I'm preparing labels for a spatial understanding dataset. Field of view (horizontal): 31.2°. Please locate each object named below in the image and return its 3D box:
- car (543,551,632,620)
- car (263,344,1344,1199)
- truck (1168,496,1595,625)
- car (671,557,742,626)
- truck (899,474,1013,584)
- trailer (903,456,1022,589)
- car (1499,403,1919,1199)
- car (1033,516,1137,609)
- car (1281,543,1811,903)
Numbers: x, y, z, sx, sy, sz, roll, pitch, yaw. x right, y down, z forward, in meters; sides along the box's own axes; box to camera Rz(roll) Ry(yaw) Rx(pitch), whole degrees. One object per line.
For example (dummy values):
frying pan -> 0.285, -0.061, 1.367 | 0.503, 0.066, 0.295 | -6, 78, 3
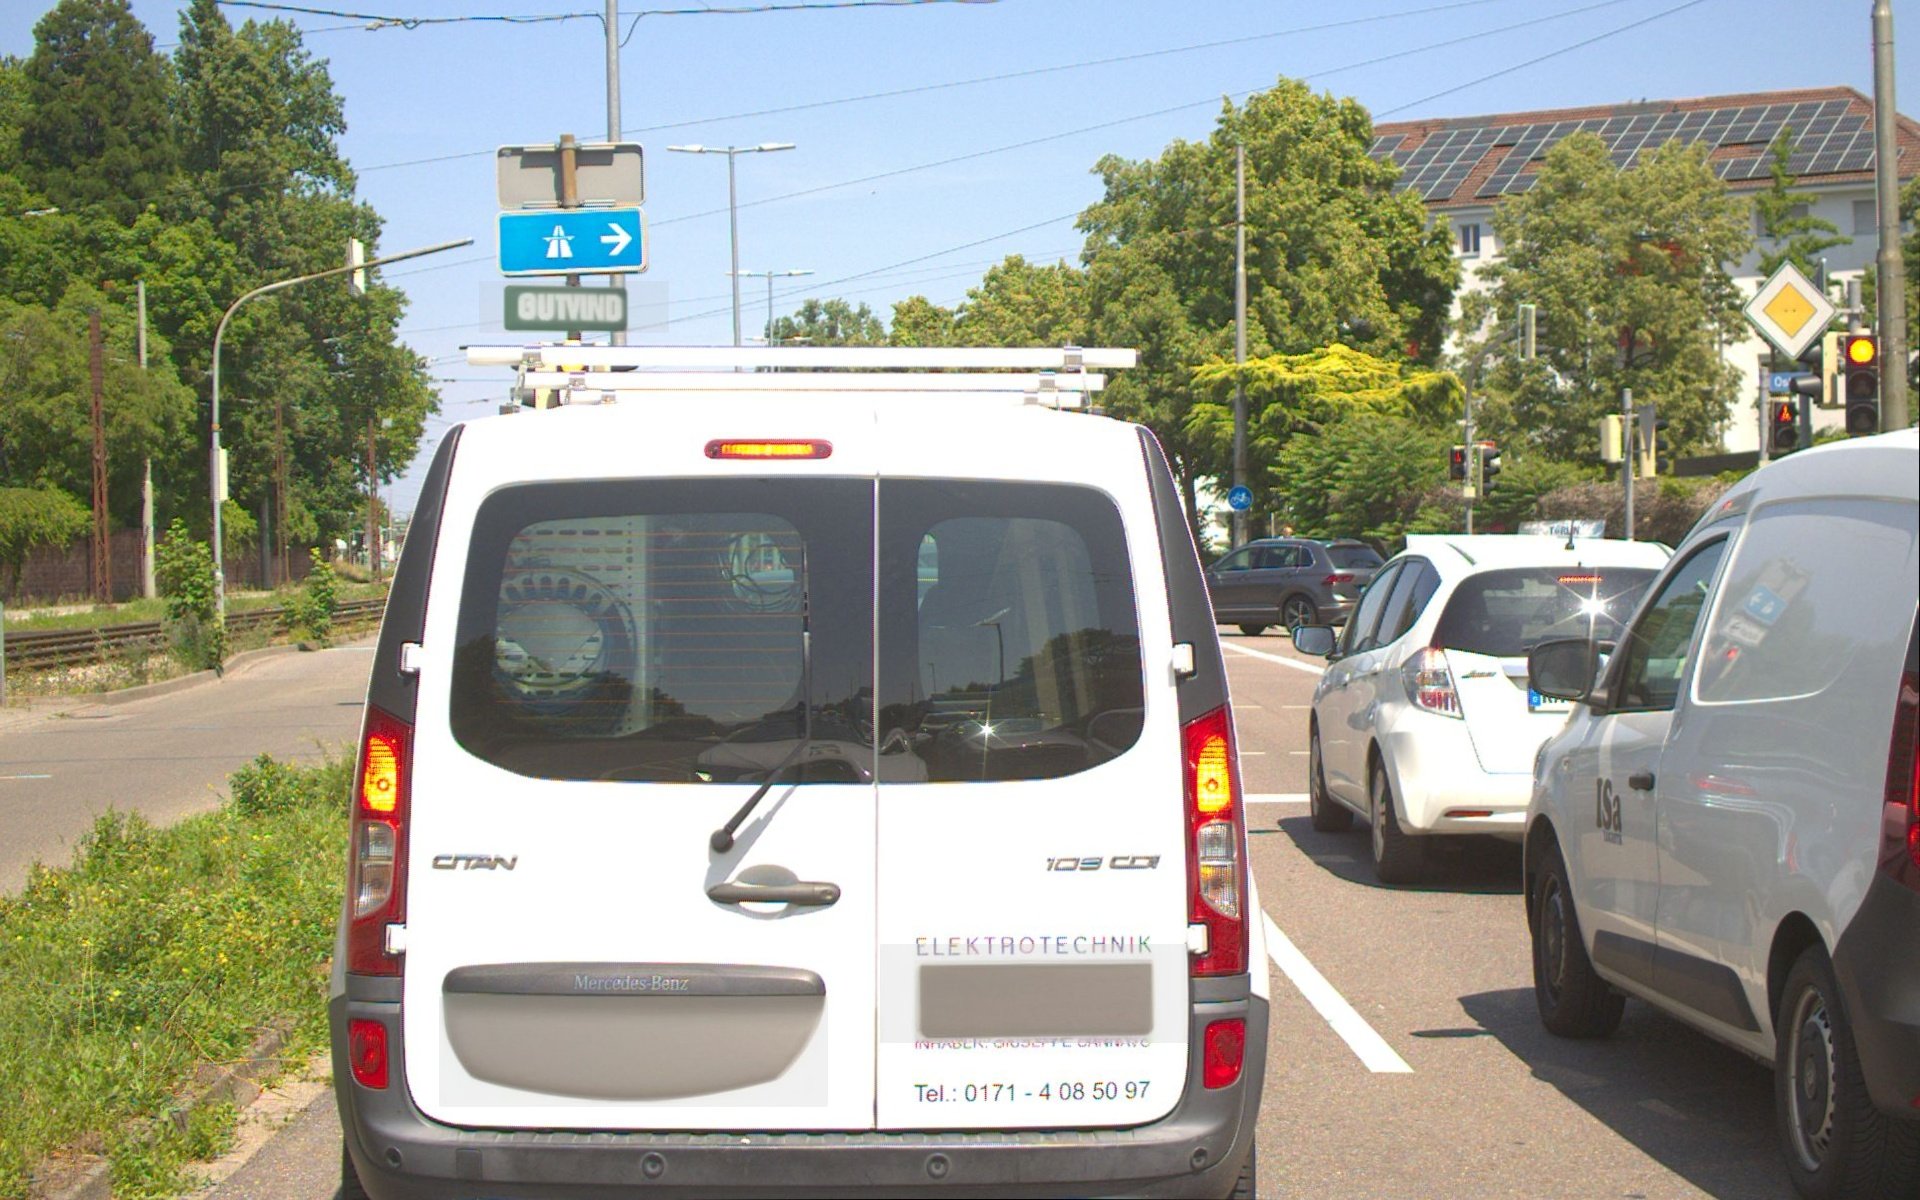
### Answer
car -> -7.394, -0.313, 68.396 | 1.691, 1.307, 3.885 | -1, 1, -6
car -> -0.326, 0.448, 7.910 | 1.866, 1.829, 3.849 | 1, 1, -2
truck -> 6.856, -0.647, 56.496 | 6.720, 2.007, 2.302 | 0, 1, 38
car -> -7.651, -0.268, 104.172 | 1.993, 2.007, 4.001 | -1, 1, -2
truck -> -0.211, -2.447, 118.802 | 3.575, 3.620, 8.810 | -1, 1, -2
trailer -> 0.007, -2.458, 109.904 | 3.527, 4.037, 8.978 | -1, 1, -1
car -> 2.652, 0.476, 8.917 | 1.710, 1.824, 4.014 | 0, 1, -2
car -> 2.679, -0.811, 72.779 | 1.994, 1.908, 3.999 | 0, 1, 5
car -> 2.636, 0.483, 16.367 | 1.756, 1.481, 4.000 | 1, 1, -1
